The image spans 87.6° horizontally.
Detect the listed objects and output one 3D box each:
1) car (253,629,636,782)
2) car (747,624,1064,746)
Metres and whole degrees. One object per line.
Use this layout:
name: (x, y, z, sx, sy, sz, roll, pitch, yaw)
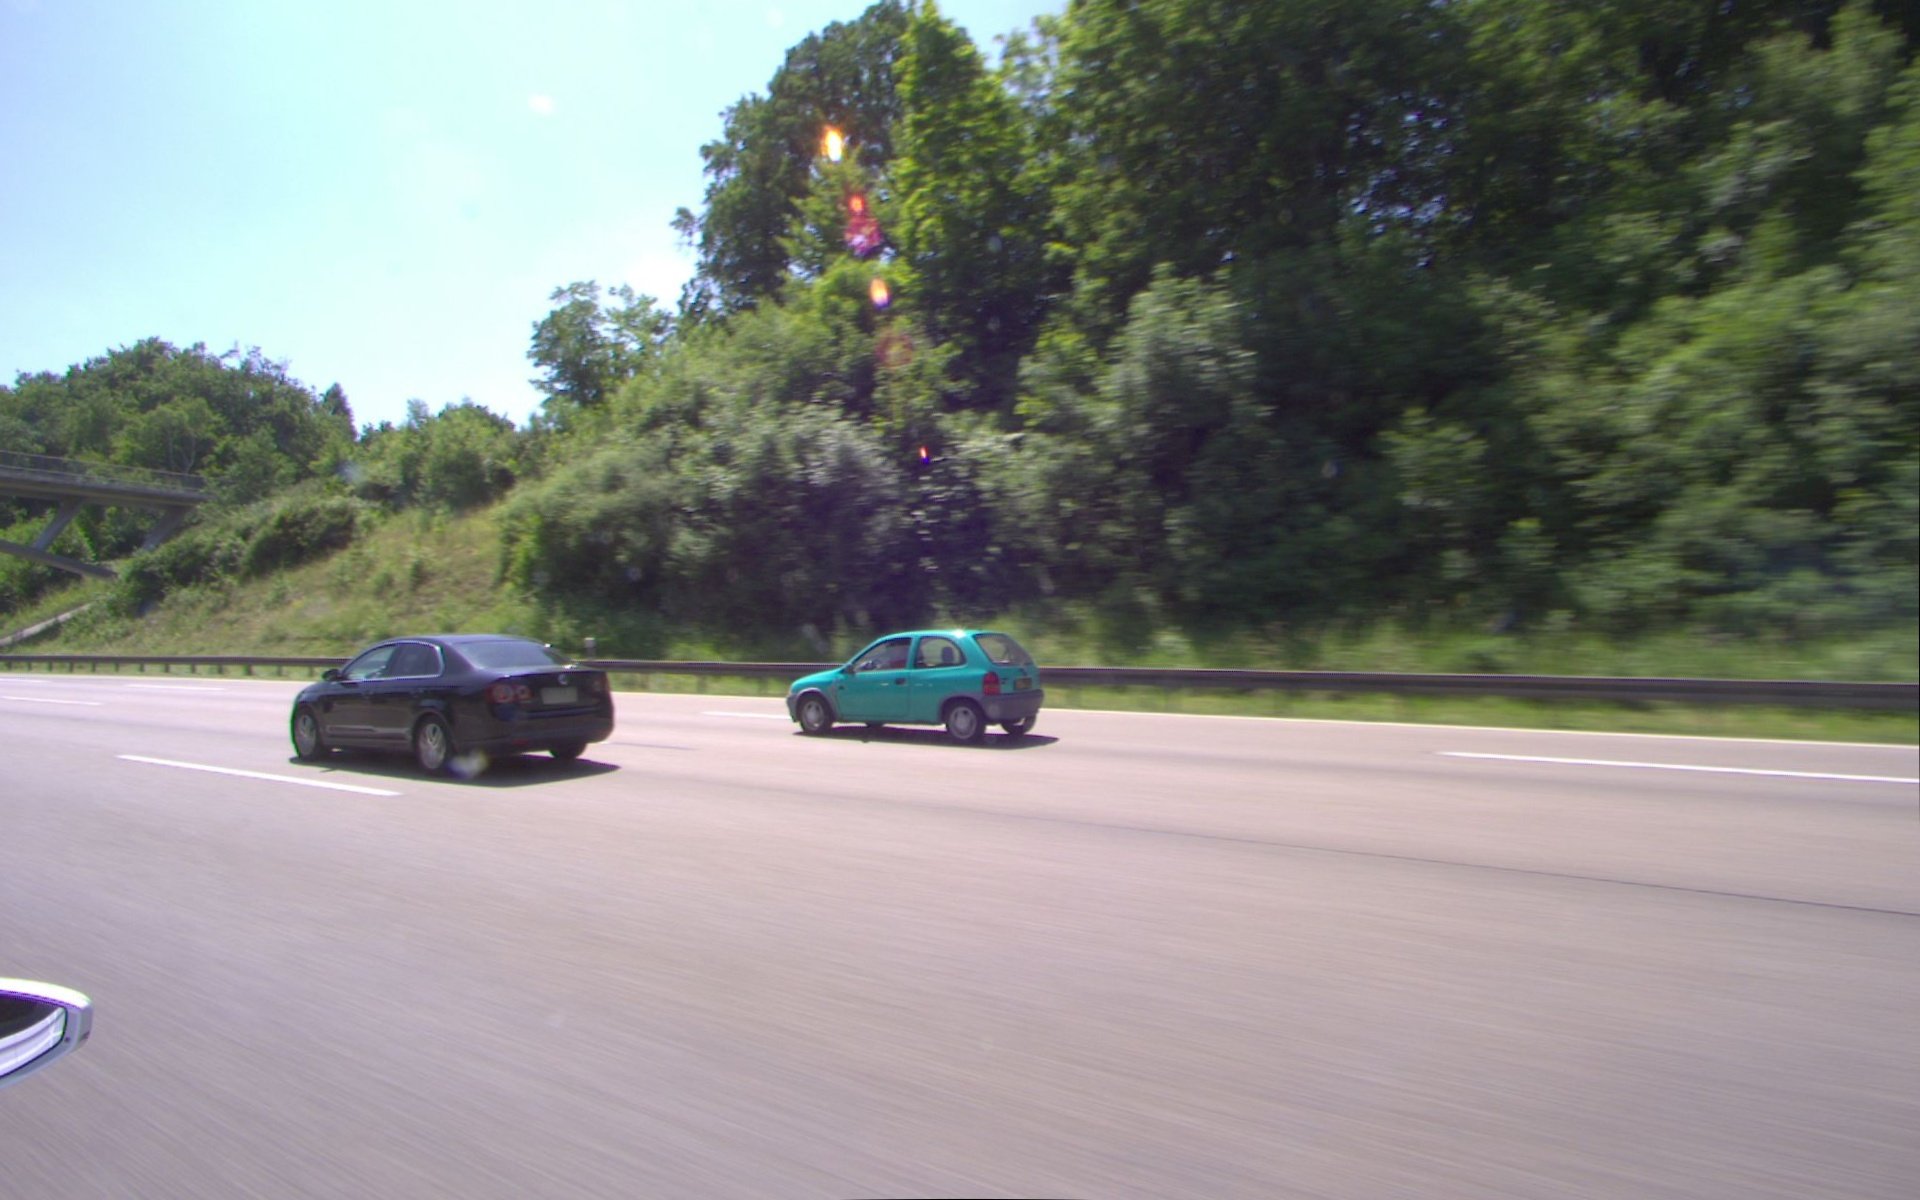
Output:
car: (-6.004, 1.050, 11.454, 4.832, 1.426, 1.663, -1, -1, 32)
car: (-0.825, 1.069, 13.789, 4.278, 1.462, 1.542, -1, -1, 32)
